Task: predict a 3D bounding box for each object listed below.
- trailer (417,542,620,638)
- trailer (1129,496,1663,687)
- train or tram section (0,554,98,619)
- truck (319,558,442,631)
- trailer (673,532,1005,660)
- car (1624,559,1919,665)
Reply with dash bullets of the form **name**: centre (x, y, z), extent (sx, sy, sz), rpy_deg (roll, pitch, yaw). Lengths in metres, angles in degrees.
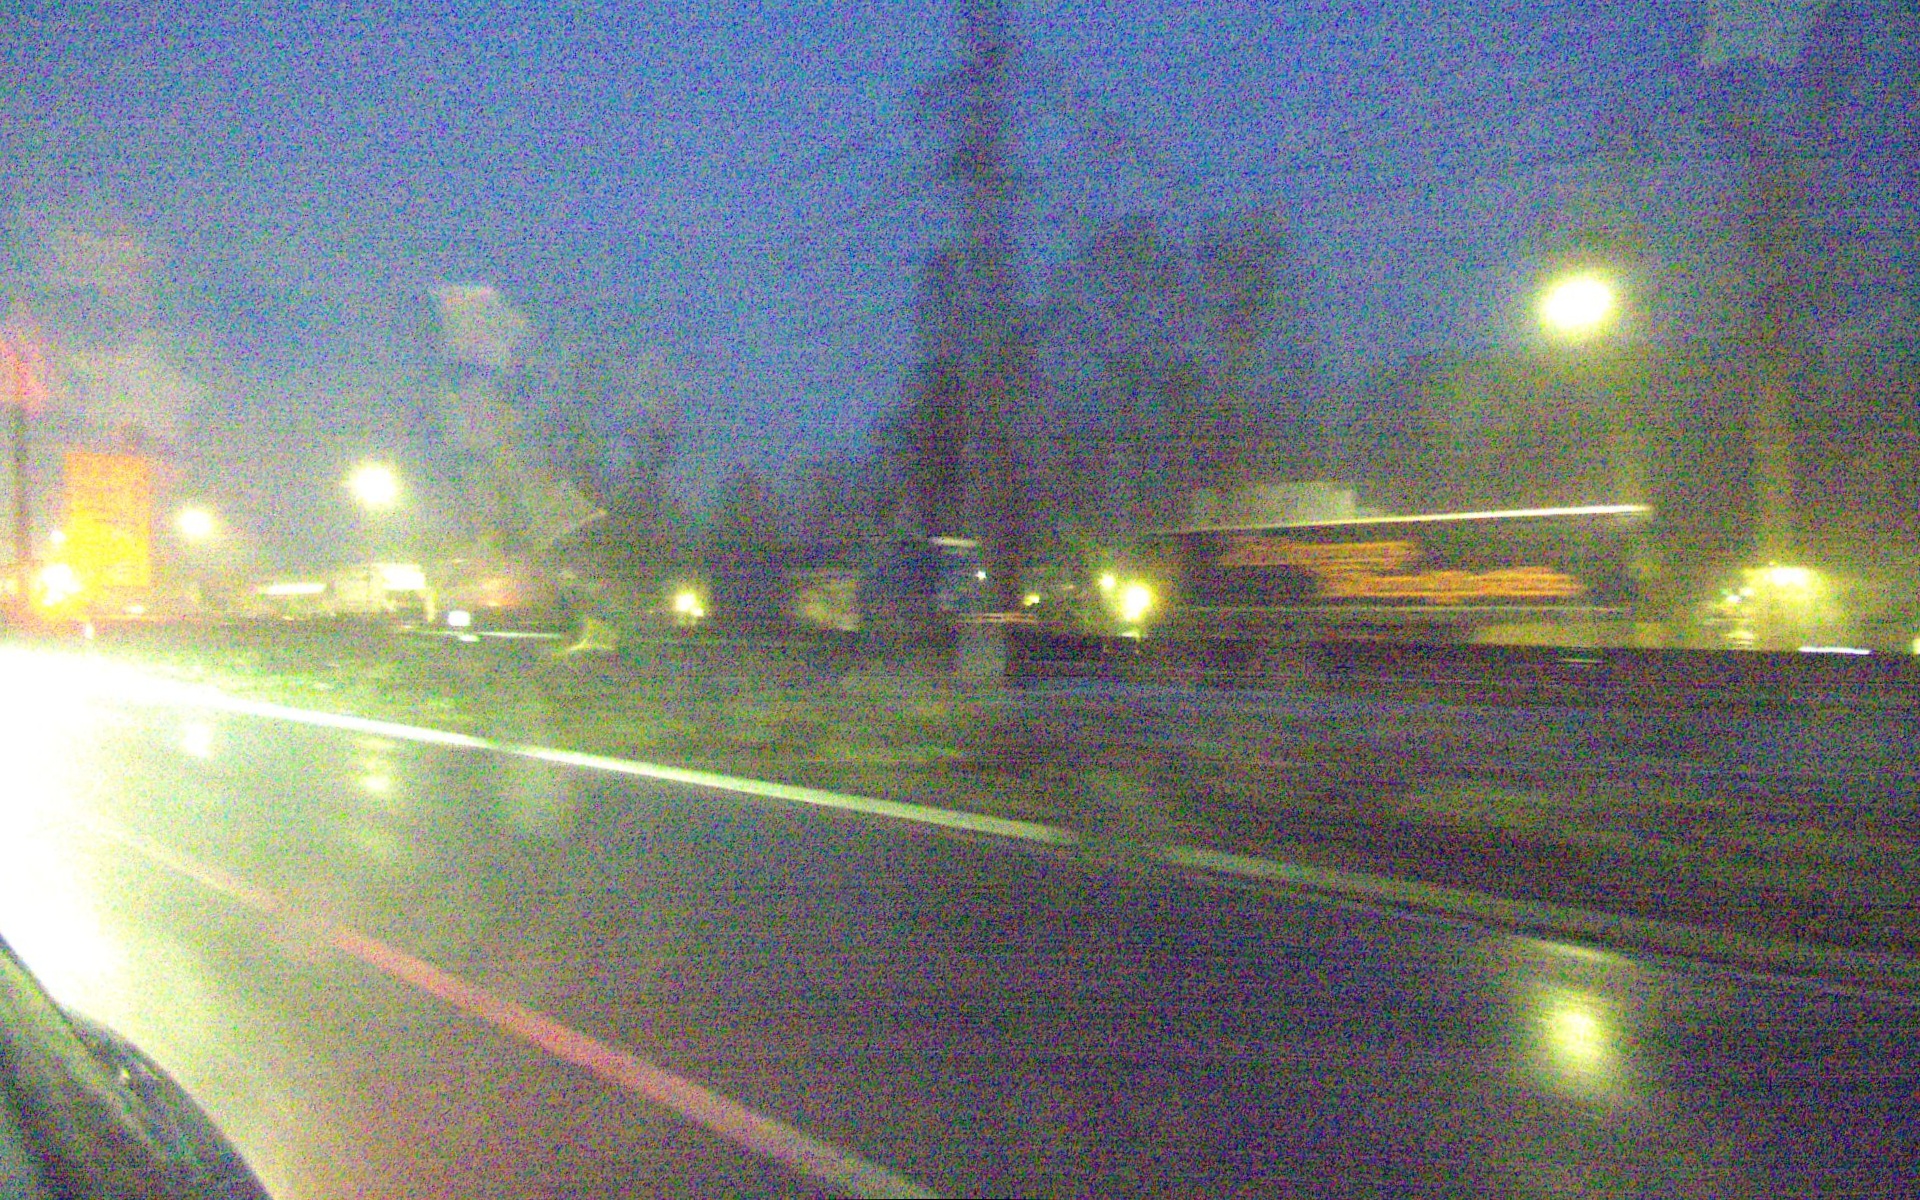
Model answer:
- **trailer**: centre (-26.089, -0.634, 59.136), extent (14.810, 5.049, 3.935), rpy_deg (0, 3, 37)
- **trailer**: centre (12.415, -0.325, 30.408), extent (14.224, 4.643, 3.935), rpy_deg (0, 3, 37)
- **train or tram section**: centre (-68.984, -0.917, 72.860), extent (37.088, 3.843, 2.672), rpy_deg (0, 3, 38)
- **truck**: centre (-39.796, -0.403, 69.358), extent (10.196, 4.643, 3.408), rpy_deg (0, 3, 37)
- **trailer**: centre (-5.627, -0.270, 42.973), extent (15.489, 4.643, 3.935), rpy_deg (0, 3, 37)
- **car**: centre (14.447, 0.210, 18.109), extent (4.210, 1.706, 1.770), rpy_deg (-1, 0, 36)
